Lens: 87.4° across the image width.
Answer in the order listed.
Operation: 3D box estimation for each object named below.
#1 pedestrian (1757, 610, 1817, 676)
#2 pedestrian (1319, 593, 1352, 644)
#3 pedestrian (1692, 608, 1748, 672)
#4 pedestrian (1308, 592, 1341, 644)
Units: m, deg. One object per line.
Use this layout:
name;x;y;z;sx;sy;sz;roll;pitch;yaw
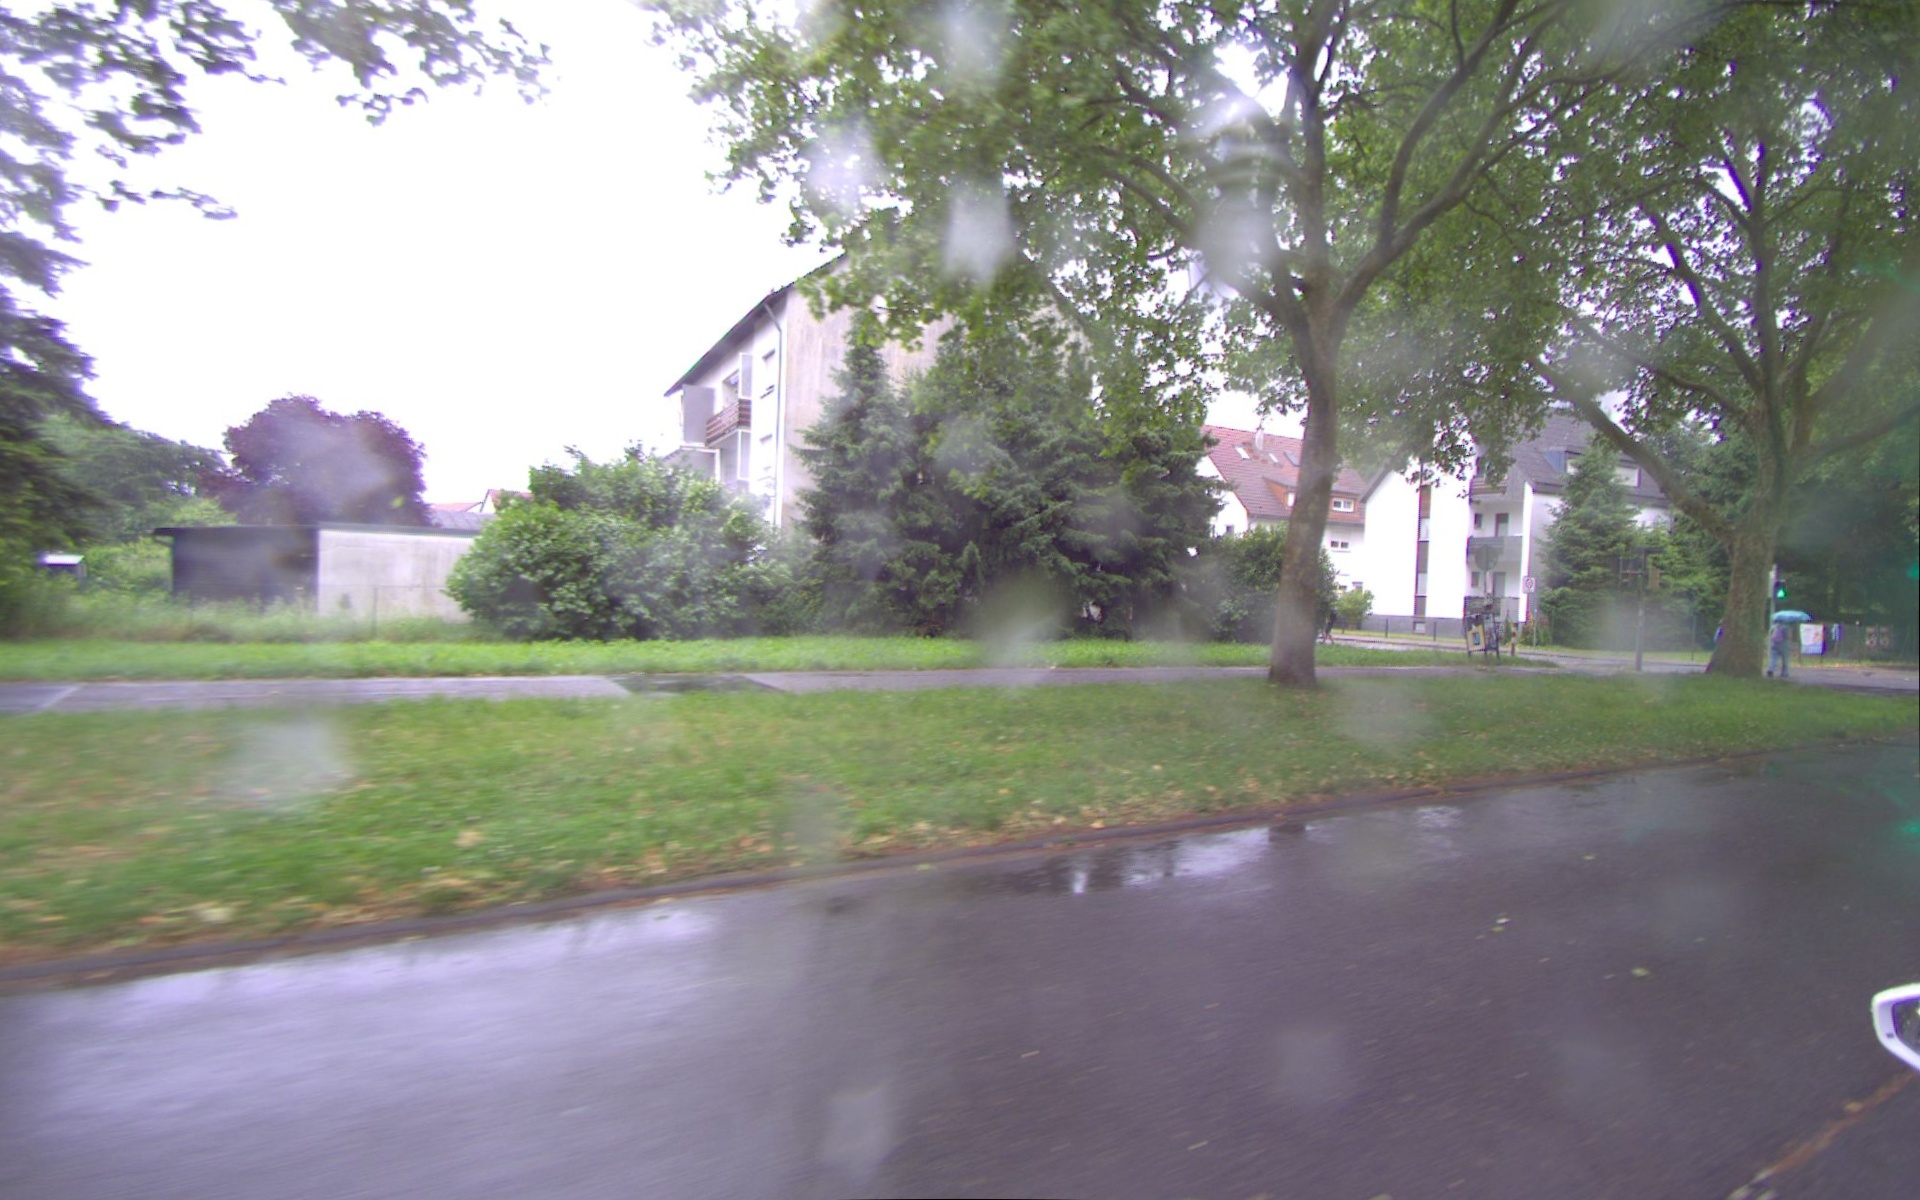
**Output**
pedestrian;23.044;1.176;27.991;0.828;1.789;1.028;1;0;-30
pedestrian;13.307;0.640;35.612;0.633;1.768;0.854;1;1;-33
pedestrian;22.052;1.153;29.156;0.869;1.789;1.028;1;0;-30
pedestrian;12.738;0.627;35.132;0.633;1.768;0.815;1;1;-33
